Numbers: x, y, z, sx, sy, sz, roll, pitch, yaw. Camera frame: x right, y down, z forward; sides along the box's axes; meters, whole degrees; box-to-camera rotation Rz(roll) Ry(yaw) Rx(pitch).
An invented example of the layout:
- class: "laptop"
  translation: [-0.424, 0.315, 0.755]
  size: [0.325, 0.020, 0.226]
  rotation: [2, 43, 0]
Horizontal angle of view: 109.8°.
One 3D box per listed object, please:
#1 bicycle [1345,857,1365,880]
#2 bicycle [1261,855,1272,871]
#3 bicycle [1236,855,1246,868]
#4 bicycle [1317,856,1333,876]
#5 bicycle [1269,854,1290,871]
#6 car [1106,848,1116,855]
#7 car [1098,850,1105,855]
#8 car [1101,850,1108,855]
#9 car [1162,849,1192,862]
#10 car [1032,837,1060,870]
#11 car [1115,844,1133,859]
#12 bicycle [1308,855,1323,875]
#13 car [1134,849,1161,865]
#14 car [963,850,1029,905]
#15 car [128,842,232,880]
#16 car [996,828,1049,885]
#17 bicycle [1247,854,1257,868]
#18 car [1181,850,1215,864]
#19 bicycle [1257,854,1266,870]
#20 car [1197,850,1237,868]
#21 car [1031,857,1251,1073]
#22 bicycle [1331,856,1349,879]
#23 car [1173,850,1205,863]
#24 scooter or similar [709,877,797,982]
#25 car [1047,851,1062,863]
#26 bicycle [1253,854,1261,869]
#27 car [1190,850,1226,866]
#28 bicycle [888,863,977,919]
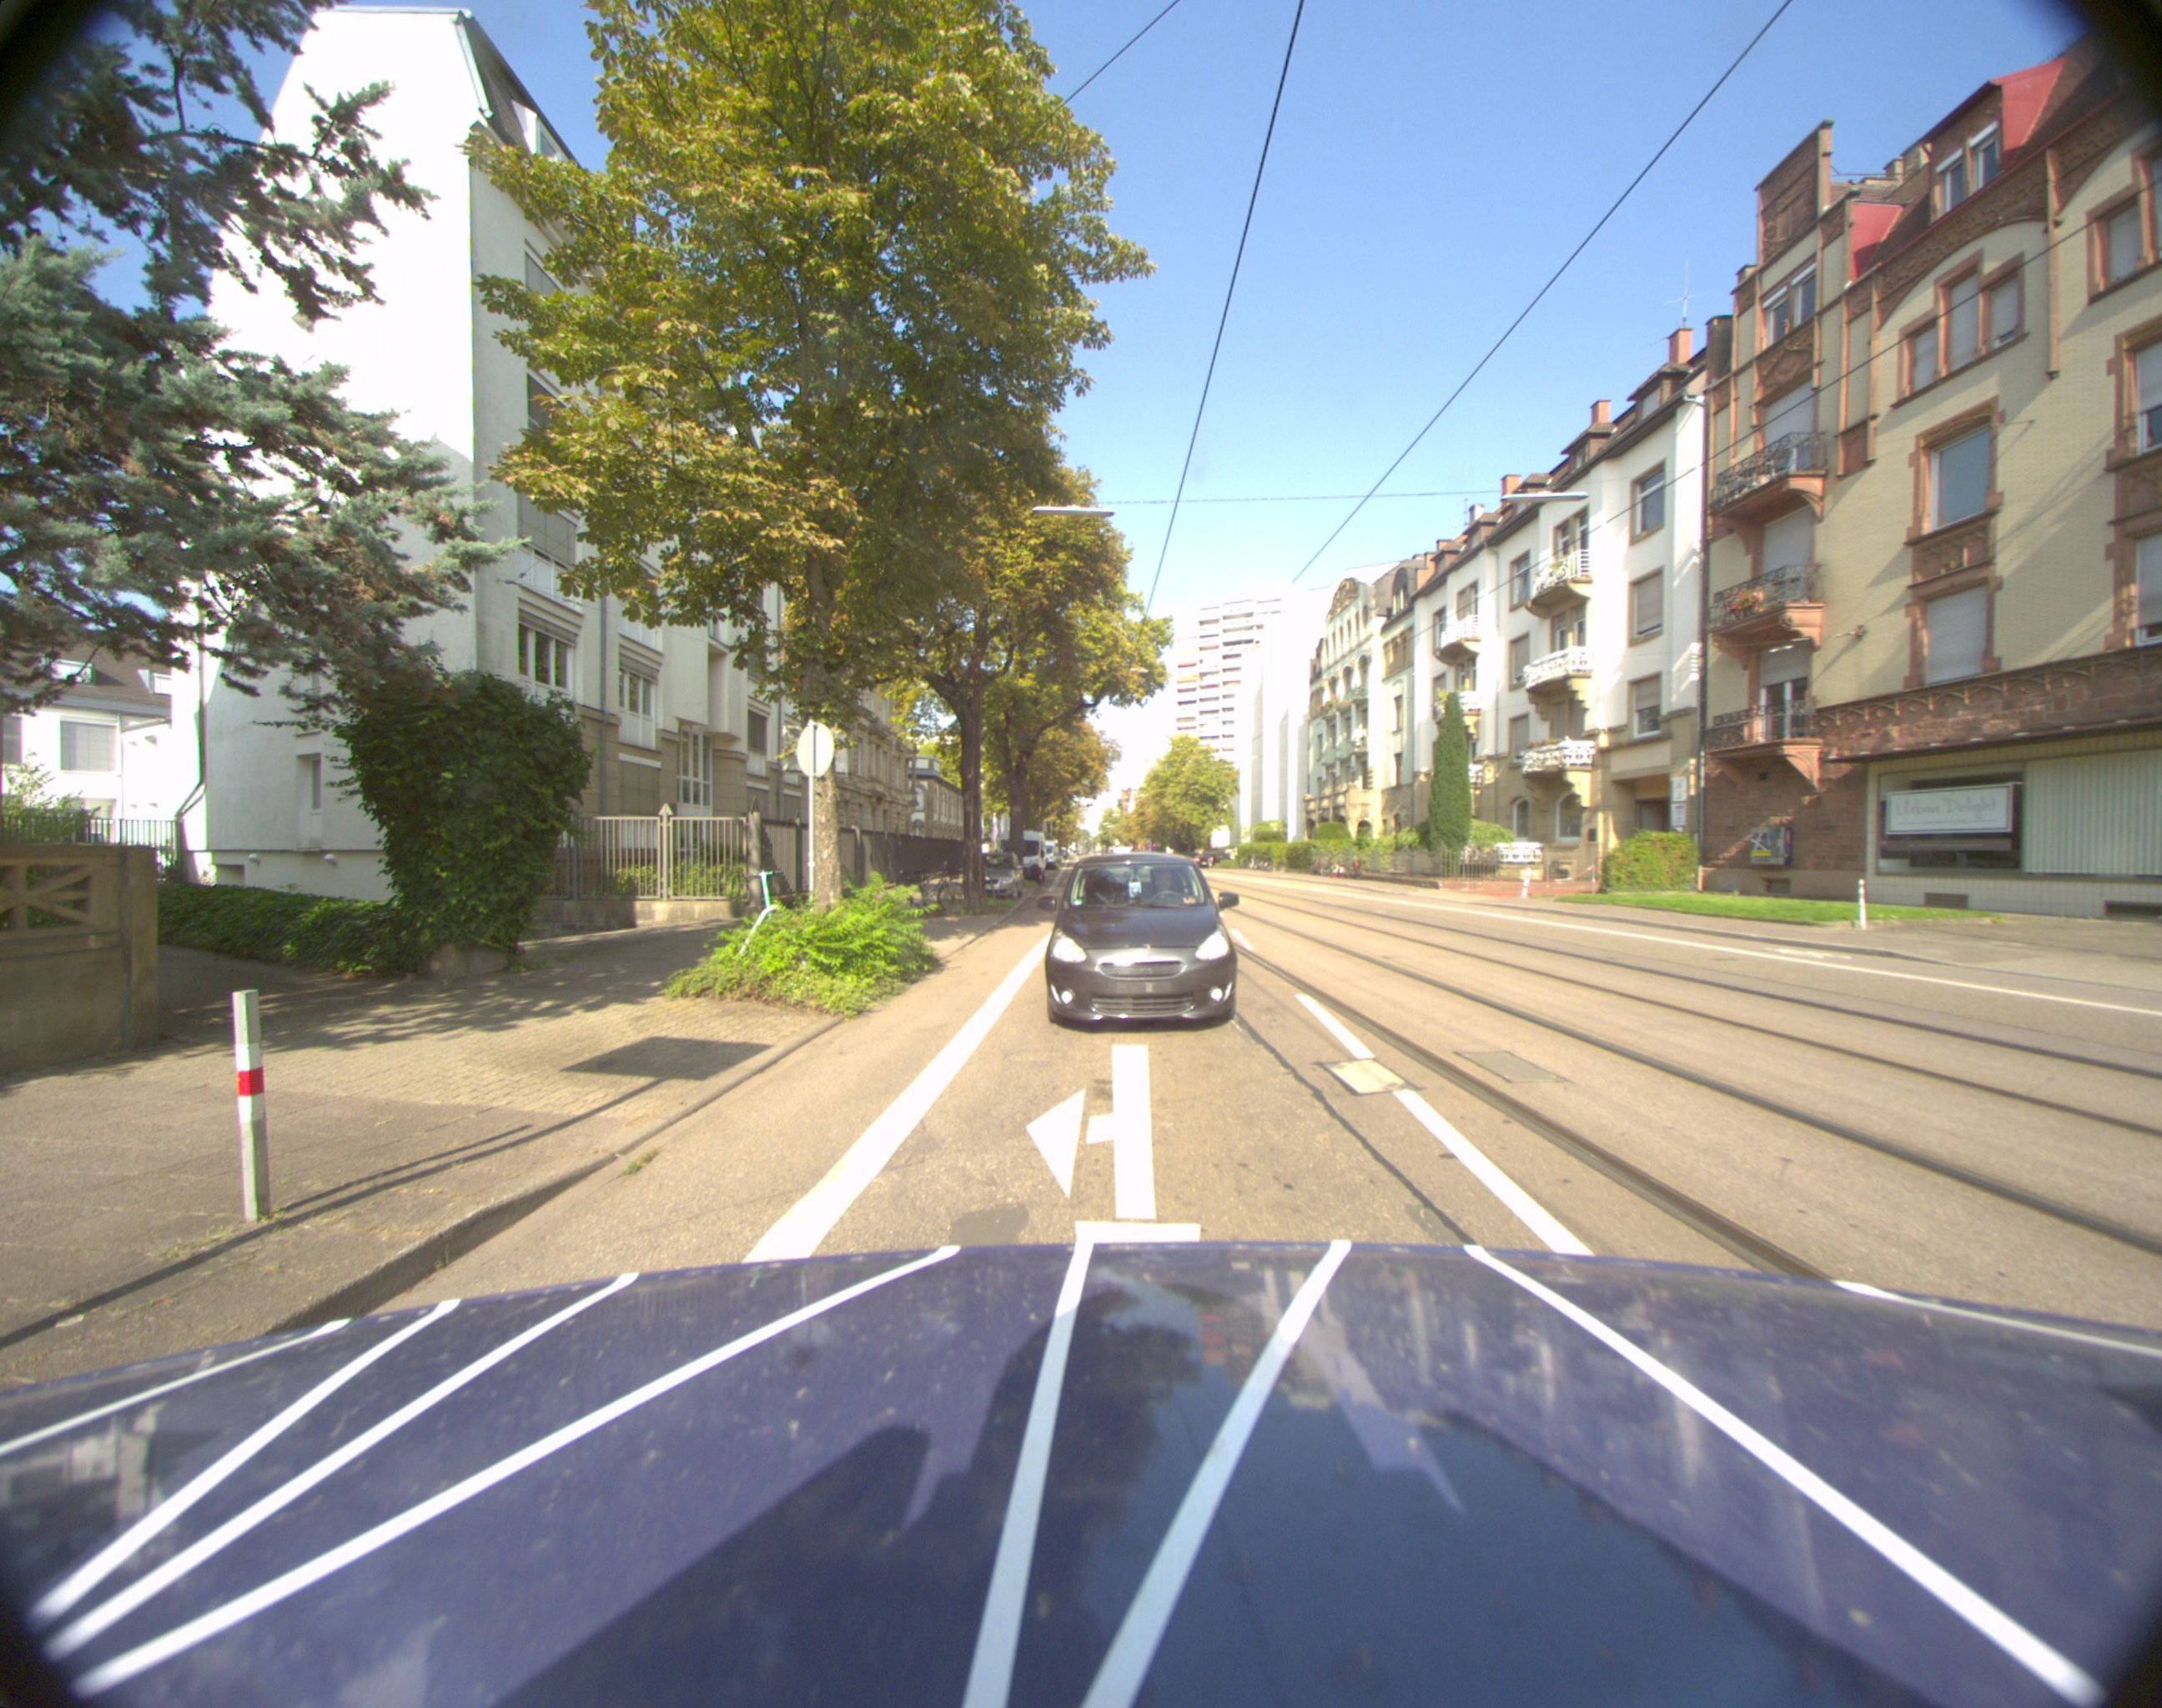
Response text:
- class: "bicycle"
  translation: [12.972, 0.674, 36.032]
  size: [0.371, 1.081, 1.487]
  rotation: [0, 1, -1]
- class: "bicycle"
  translation: [12.786, 0.591, 52.348]
  size: [0.425, 1.081, 1.677]
  rotation: [0, 1, 4]
- class: "bicycle"
  translation: [12.747, 0.598, 60.598]
  size: [0.425, 0.972, 1.770]
  rotation: [0, 1, -1]
- class: "bicycle"
  translation: [13.031, 0.630, 40.565]
  size: [0.371, 1.081, 1.355]
  rotation: [0, 1, -1]
- class: "bicycle"
  translation: [13.411, 0.569, 51.346]
  size: [1.397, 1.081, 0.425]
  rotation: [0, 1, -18]
- class: "car"
  translation: [6.142, -0.444, 153.470]
  size: [1.701, 1.395, 4.645]
  rotation: [-1, 1, -1]
- class: "car"
  translation: [5.642, -0.460, 212.444]
  size: [1.757, 1.349, 3.787]
  rotation: [0, 0, -1]
- class: "car"
  translation: [5.993, -0.387, 197.057]
  size: [1.757, 1.349, 3.788]
  rotation: [0, 0, 1]
- class: "car"
  translation: [12.016, 0.172, 95.165]
  size: [1.767, 1.518, 4.009]
  rotation: [1, 1, 41]
- class: "car"
  translation: [-2.872, -0.036, 63.306]
  size: [1.998, 2.526, 5.867]
  rotation: [2, 0, 0]
- class: "car"
  translation: [5.940, -0.330, 105.774]
  size: [1.999, 2.002, 4.857]
  rotation: [0, 0, -3]
- class: "bicycle"
  translation: [13.073, 0.627, 42.335]
  size: [0.371, 1.081, 1.355]
  rotation: [0, 1, -1]
- class: "car"
  translation: [6.409, 0.279, 73.779]
  size: [1.877, 1.446, 4.543]
  rotation: [3, 0, -3]
- class: "car"
  translation: [-2.653, 0.693, 24.600]
  size: [1.611, 1.515, 4.356]
  rotation: [3, 1, 0]
- class: "car"
  translation: [-38.661, 0.250, 32.591]
  size: [3.990, 1.557, 1.839]
  rotation: [0, 1, 24]
- class: "car"
  translation: [-2.677, 0.084, 36.330]
  size: [2.051, 2.484, 6.228]
  rotation: [1, 0, 0]
- class: "bicycle"
  translation: [12.883, 0.527, 57.265]
  size: [0.425, 1.081, 1.676]
  rotation: [0, 1, 2]
- class: "car"
  translation: [12.886, 0.316, 83.467]
  size: [1.767, 1.518, 4.009]
  rotation: [1, 1, 41]
- class: "bicycle"
  translation: [12.926, 0.562, 54.445]
  size: [0.425, 1.081, 1.677]
  rotation: [0, 1, 9]
- class: "car"
  translation: [12.414, 0.442, 69.370]
  size: [1.767, 1.518, 4.009]
  rotation: [1, 1, 41]
- class: "car"
  translation: [0.440, 0.837, 7.838]
  size: [1.611, 1.515, 4.356]
  rotation: [-1, 1, 0]
- class: "bicycle"
  translation: [12.875, 0.654, 37.806]
  size: [0.371, 1.081, 1.355]
  rotation: [0, 1, -1]
- class: "car"
  translation: [12.302, 0.268, 86.317]
  size: [1.767, 1.518, 4.009]
  rotation: [1, 1, 41]
- class: "scooter or similar"
  translation: [-4.162, 0.931, 9.714]
  size: [0.559, 1.190, 1.034]
  rotation: [3, 1, 5]
- class: "car"
  translation: [-3.136, 0.368, 91.660]
  size: [1.757, 1.349, 3.787]
  rotation: [0, 0, -1]
- class: "bicycle"
  translation: [12.771, 0.545, 55.254]
  size: [0.425, 1.081, 1.677]
  rotation: [0, 1, 9]
- class: "car"
  translation: [12.731, 0.361, 76.002]
  size: [1.767, 1.518, 4.009]
  rotation: [1, 1, 41]
- class: "bicycle"
  translation: [-3.284, 0.817, 16.910]
  size: [1.846, 1.160, 0.503]
  rotation: [2, 5, -40]
